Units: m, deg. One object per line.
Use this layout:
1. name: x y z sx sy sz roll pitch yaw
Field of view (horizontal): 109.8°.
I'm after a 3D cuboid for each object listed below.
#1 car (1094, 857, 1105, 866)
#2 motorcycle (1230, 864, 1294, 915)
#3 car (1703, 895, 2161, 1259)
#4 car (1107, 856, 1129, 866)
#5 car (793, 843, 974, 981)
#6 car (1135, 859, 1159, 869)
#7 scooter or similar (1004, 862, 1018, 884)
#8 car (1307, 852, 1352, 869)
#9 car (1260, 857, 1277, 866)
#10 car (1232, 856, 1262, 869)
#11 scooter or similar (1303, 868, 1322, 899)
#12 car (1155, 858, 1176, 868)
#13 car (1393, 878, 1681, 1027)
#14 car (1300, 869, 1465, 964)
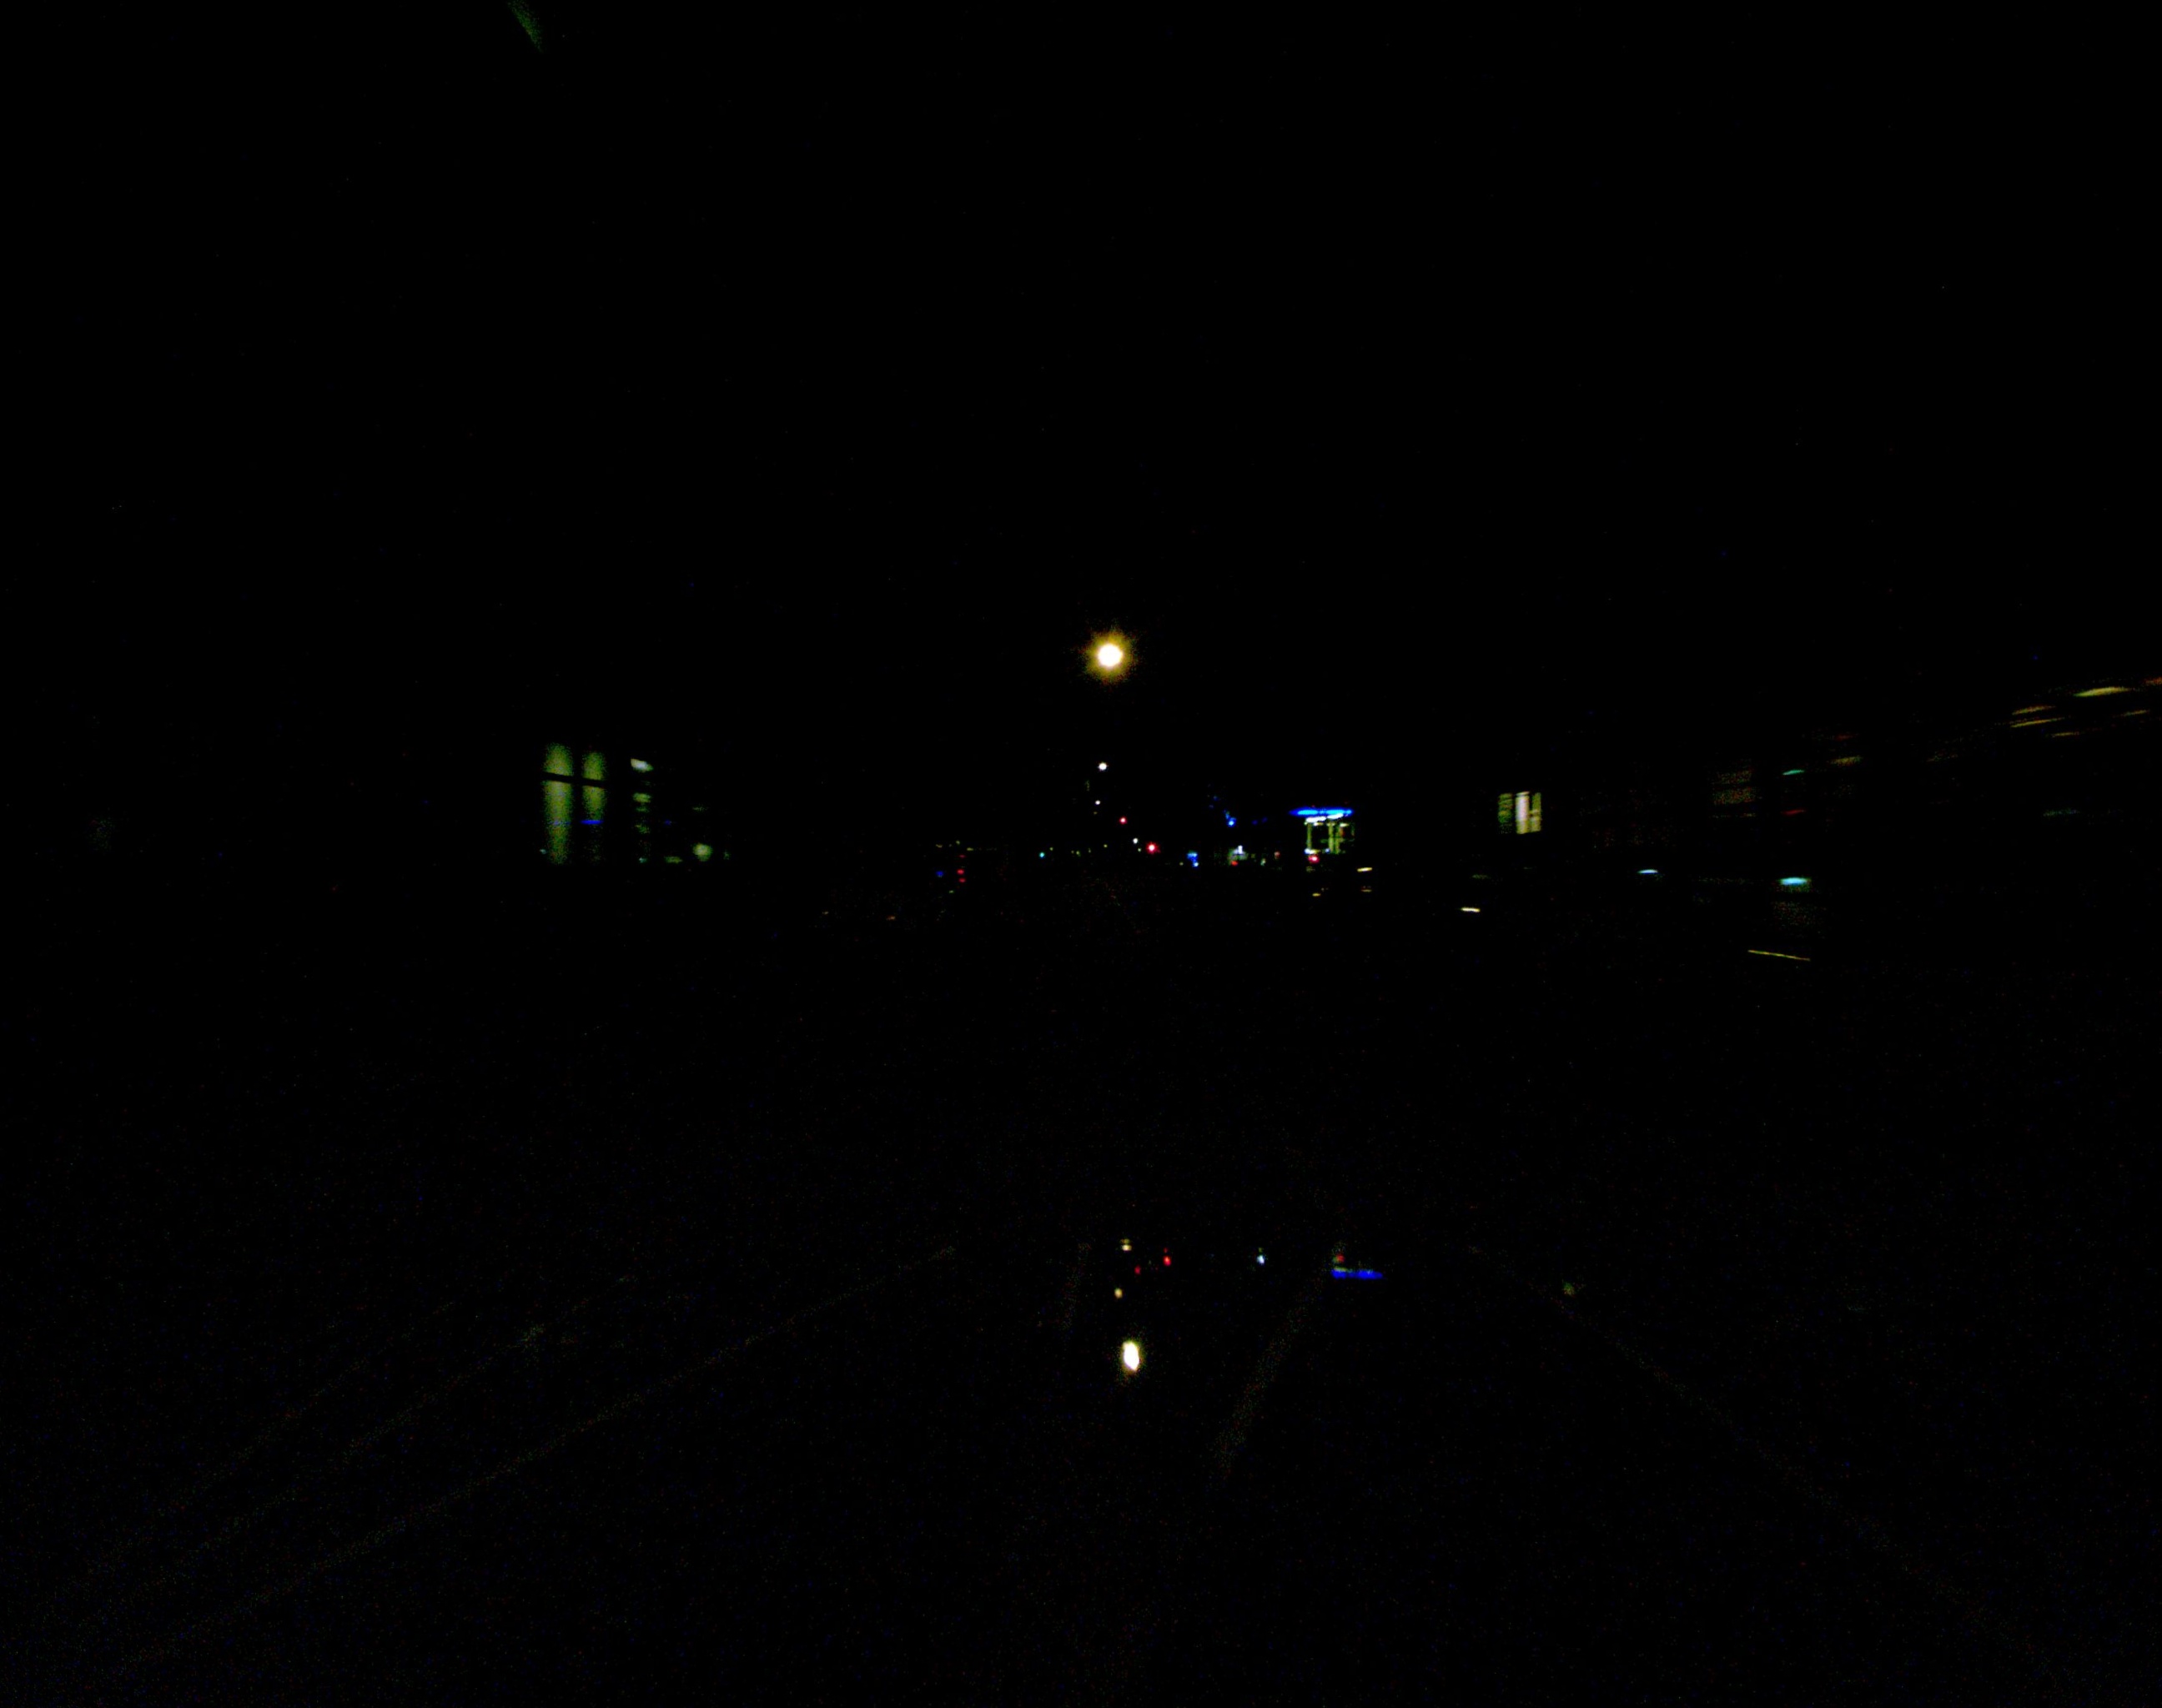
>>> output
1. car: 3.468 1.365 140.500 1.936 1.646 3.833 -1 0 0
2. motorcycle: 5.867 1.139 24.648 1.909 1.541 0.638 -3 1 -19
3. car: 5.610 1.070 4.191 1.551 1.447 3.368 -3 0 0
4. car: 6.663 1.226 136.510 3.848 1.781 1.634 0 0 -3
5. car: -3.120 0.836 13.063 1.956 1.952 4.603 0 0 -1
6. car: 11.037 1.612 126.563 3.763 1.576 1.634 0 0 -3
7. scooter or similar: -4.292 1.158 46.516 0.548 1.196 1.910 4 2 1
8. car: 23.616 0.582 72.286 3.759 1.524 1.670 -1 0 0
9. car: 30.028 1.179 121.986 1.732 1.469 4.086 -1 0 0
10. car: 24.928 1.254 114.132 4.082 1.848 1.853 -1 0 1
11. scooter or similar: 9.232 1.162 30.310 0.368 1.197 1.427 0 1 1
12. car: 14.818 1.570 132.979 3.575 1.689 1.634 0 0 0
13. car: 5.747 1.123 10.184 1.448 1.421 3.903 -3 0 0
14. car: 5.776 1.116 15.087 1.646 1.495 3.903 -3 0 0
